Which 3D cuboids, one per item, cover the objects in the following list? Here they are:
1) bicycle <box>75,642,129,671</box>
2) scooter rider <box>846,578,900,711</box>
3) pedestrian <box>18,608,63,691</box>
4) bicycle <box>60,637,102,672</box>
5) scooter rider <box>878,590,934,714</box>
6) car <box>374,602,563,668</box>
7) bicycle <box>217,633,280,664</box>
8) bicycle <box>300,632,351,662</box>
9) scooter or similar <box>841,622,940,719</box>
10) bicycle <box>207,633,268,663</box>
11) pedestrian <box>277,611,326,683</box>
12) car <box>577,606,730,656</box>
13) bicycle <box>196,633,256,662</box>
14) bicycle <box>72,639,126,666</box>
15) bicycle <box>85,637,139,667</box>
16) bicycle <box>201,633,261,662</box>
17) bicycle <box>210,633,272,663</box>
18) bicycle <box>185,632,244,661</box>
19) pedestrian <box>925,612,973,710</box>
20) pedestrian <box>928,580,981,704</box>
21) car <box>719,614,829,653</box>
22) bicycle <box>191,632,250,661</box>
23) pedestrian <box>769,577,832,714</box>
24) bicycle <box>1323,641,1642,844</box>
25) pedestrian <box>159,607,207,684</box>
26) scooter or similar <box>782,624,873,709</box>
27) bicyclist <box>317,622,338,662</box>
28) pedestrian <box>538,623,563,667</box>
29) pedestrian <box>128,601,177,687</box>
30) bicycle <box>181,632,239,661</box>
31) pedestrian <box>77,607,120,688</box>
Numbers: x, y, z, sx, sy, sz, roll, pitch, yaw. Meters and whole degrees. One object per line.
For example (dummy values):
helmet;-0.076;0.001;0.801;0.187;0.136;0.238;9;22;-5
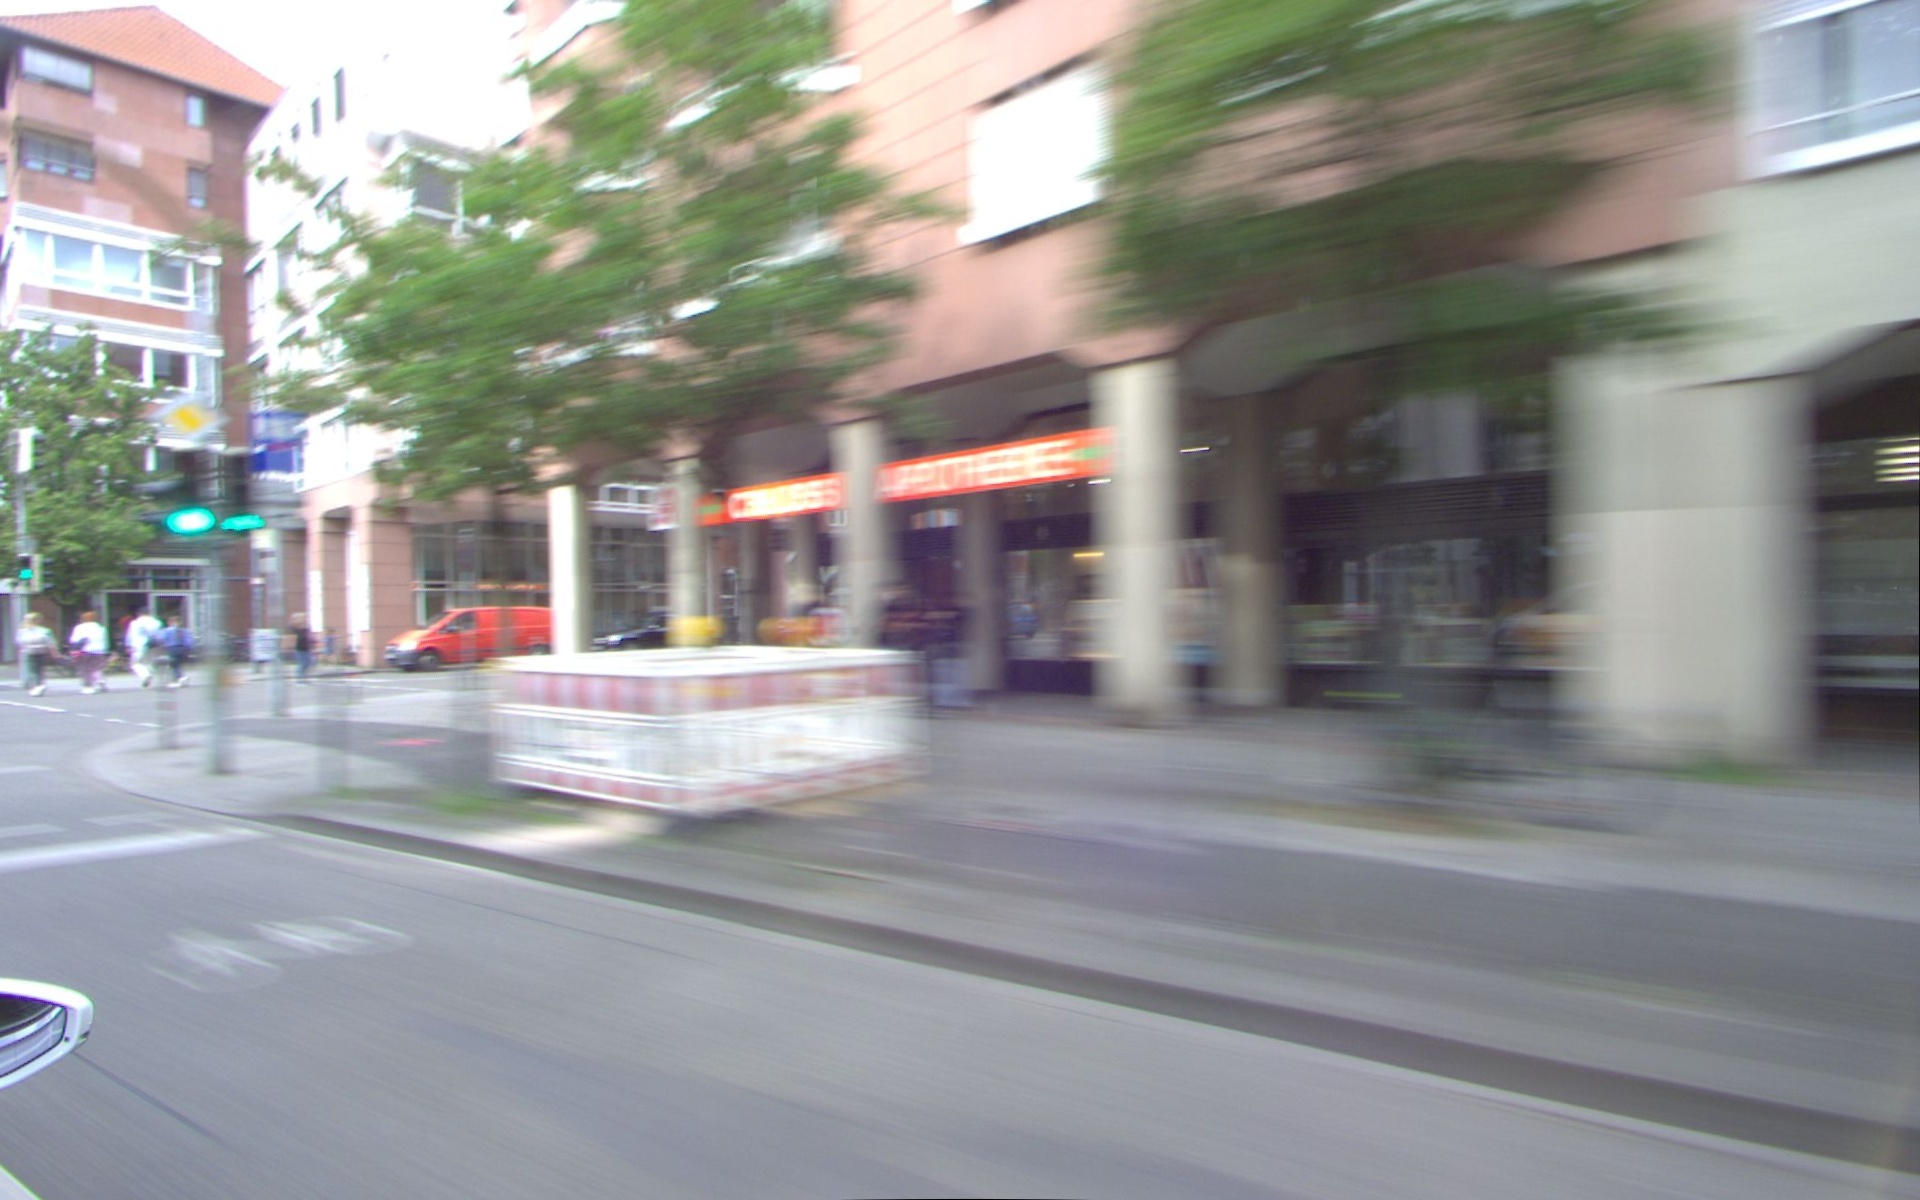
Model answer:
bicycle;-27.561;1.806;32.180;1.288;0.849;0.450;0;0;-41
scooter rider;-1.163;0.587;13.439;0.546;1.743;0.460;0;0;40
pedestrian;-18.462;0.975;20.106;0.840;1.637;0.515;0;0;37
bicycle;-26.883;1.659;30.619;1.713;1.022;0.615;-1;0;37
scooter rider;-0.705;0.671;13.089;0.557;1.577;0.459;0;0;36
car;-14.916;1.026;30.567;1.980;1.848;4.798;-3;-2;44
bicycle;-25.235;1.707;35.537;0.539;1.022;1.723;-1;0;38
bicycle;-20.400;1.496;32.200;1.297;0.927;0.474;0;0;-21
scooter or similar;-0.934;0.904;13.256;1.313;1.222;0.472;-1;0;36
bicycle;-26.166;1.719;36.272;0.539;1.022;1.723;-1;0;38
pedestrian;-14.701;1.039;22.351;0.936;1.558;0.672;-1;0;39
car;-10.684;1.060;35.146;1.980;1.610;4.798;-3;-2;44
bicycle;-27.164;1.734;37.081;0.473;1.022;1.723;-1;0;38
bicycle;-27.916;1.683;32.469;1.286;0.824;0.441;0;0;-36
bicycle;-27.939;1.716;33.022;1.286;0.880;0.450;-4;2;-36
bicycle;-26.769;1.726;36.802;0.419;1.022;1.723;-1;0;38
bicycle;-25.733;1.714;35.875;0.539;1.022;1.723;-1;0;38
bicycle;-28.015;1.751;37.663;0.432;1.022;1.723;-1;0;38
pedestrian;-0.150;0.835;14.005;0.478;1.341;0.485;0;0;35
pedestrian;-0.088;0.626;15.202;0.545;1.823;0.654;-1;0;-28
car;-7.192;1.283;39.012;1.708;1.423;3.944;-3;-2;44
bicycle;-27.590;1.741;37.380;0.466;1.022;1.723;-1;0;38
pedestrian;-2.182;0.612;13.702;0.650;1.823;0.548;0;0;43
bicycle;3.390;0.857;6.597;1.783;1.132;0.610;-1;0;39
pedestrian;-17.698;1.020;22.812;1.010;1.723;0.649;0;0;40
scooter or similar;-1.972;0.956;14.779;1.390;1.185;0.551;-1;0;41
bicyclist;-20.344;1.351;32.209;0.489;1.261;0.479;-1;0;-21
pedestrian;-14.890;1.624;36.419;0.572;1.600;0.646;0;0;42
pedestrian;-17.859;0.950;22.144;0.840;1.853;0.673;0;0;39
bicycle;-28.412;1.761;37.960;0.425;1.022;1.723;-1;0;38
pedestrian;-17.864;0.961;20.753;0.840;1.637;0.514;0;0;39
